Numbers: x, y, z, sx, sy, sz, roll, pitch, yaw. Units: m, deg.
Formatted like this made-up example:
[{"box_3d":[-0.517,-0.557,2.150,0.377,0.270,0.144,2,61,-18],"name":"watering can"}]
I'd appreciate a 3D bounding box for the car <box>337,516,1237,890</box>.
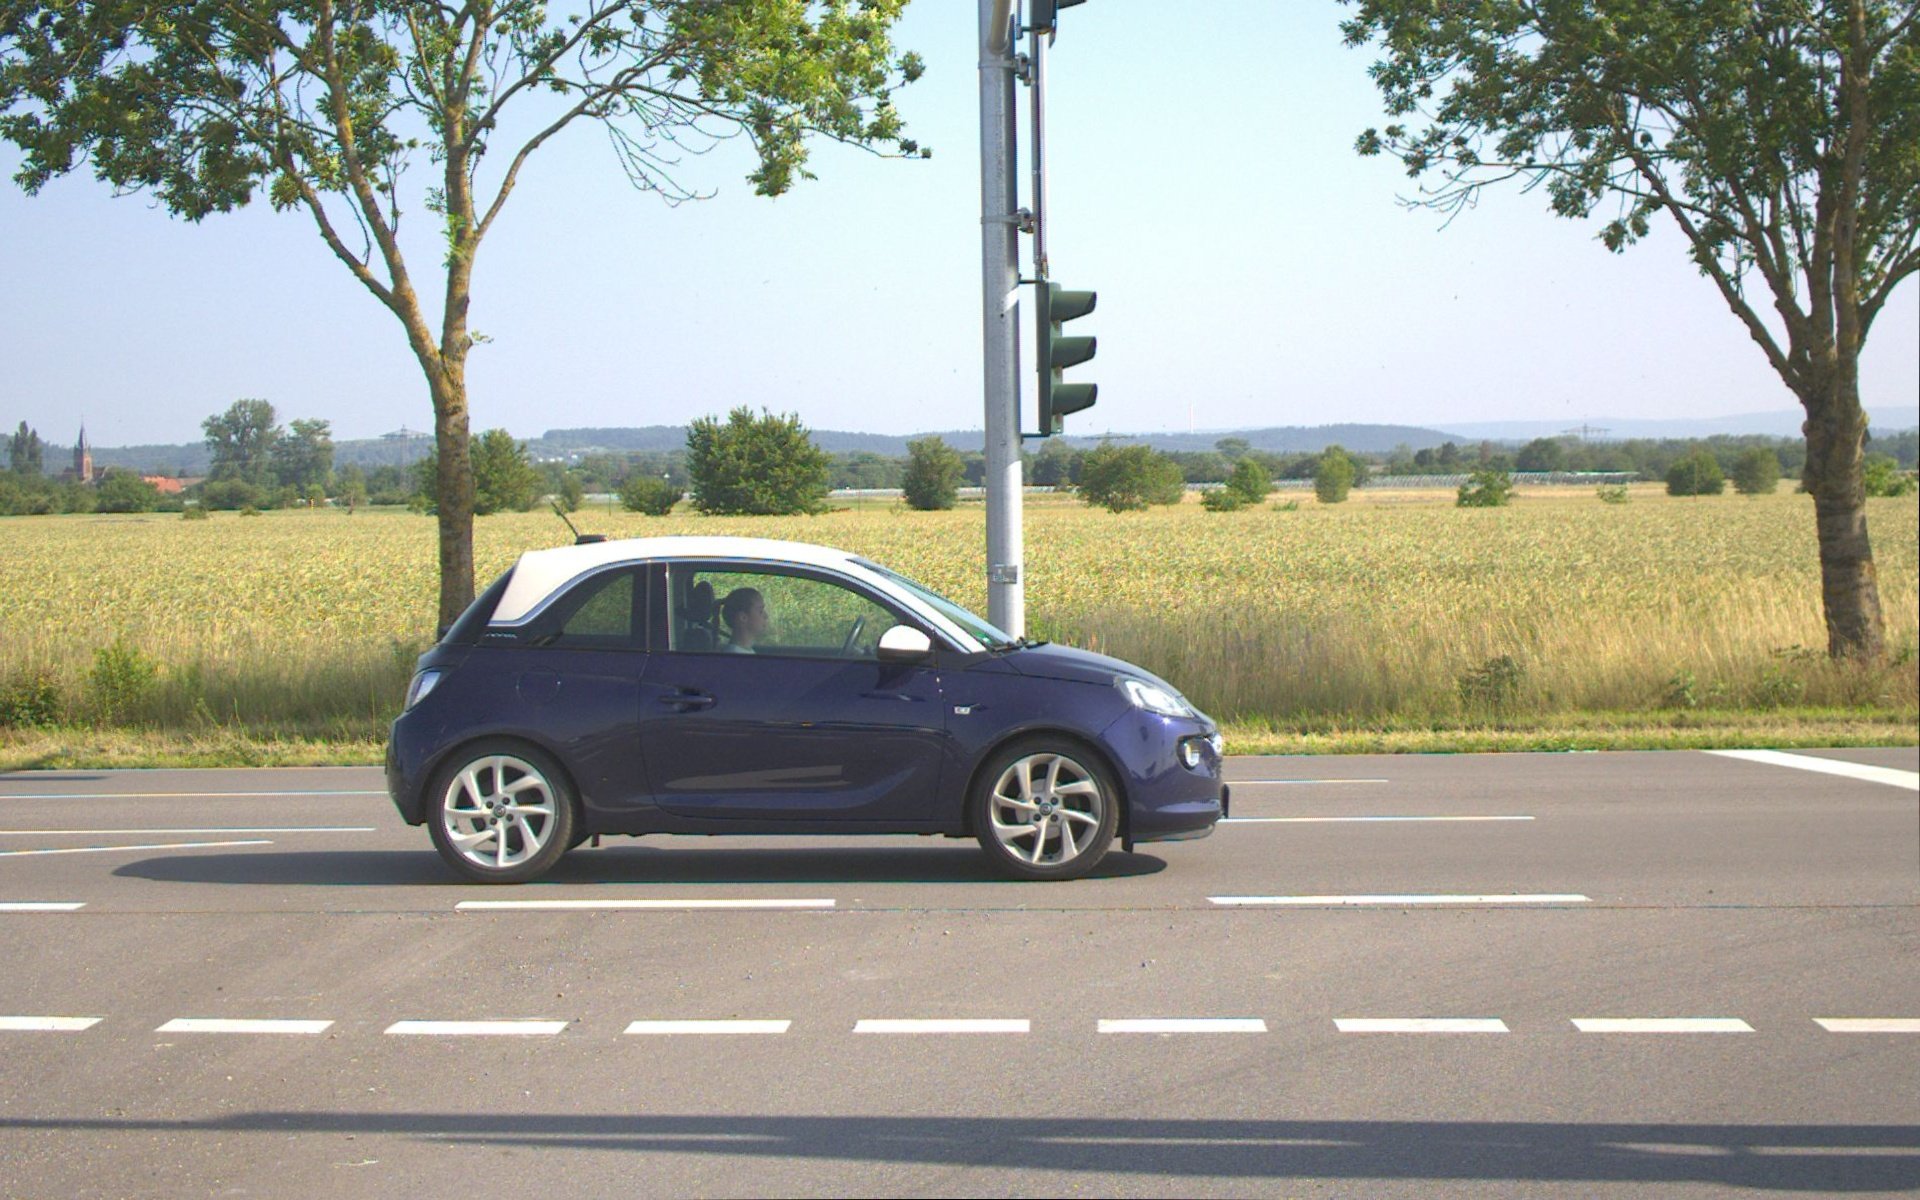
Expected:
[{"box_3d":[-0.714,0.411,15.236,3.727,1.452,1.729,-1,2,1],"name":"car"}]
